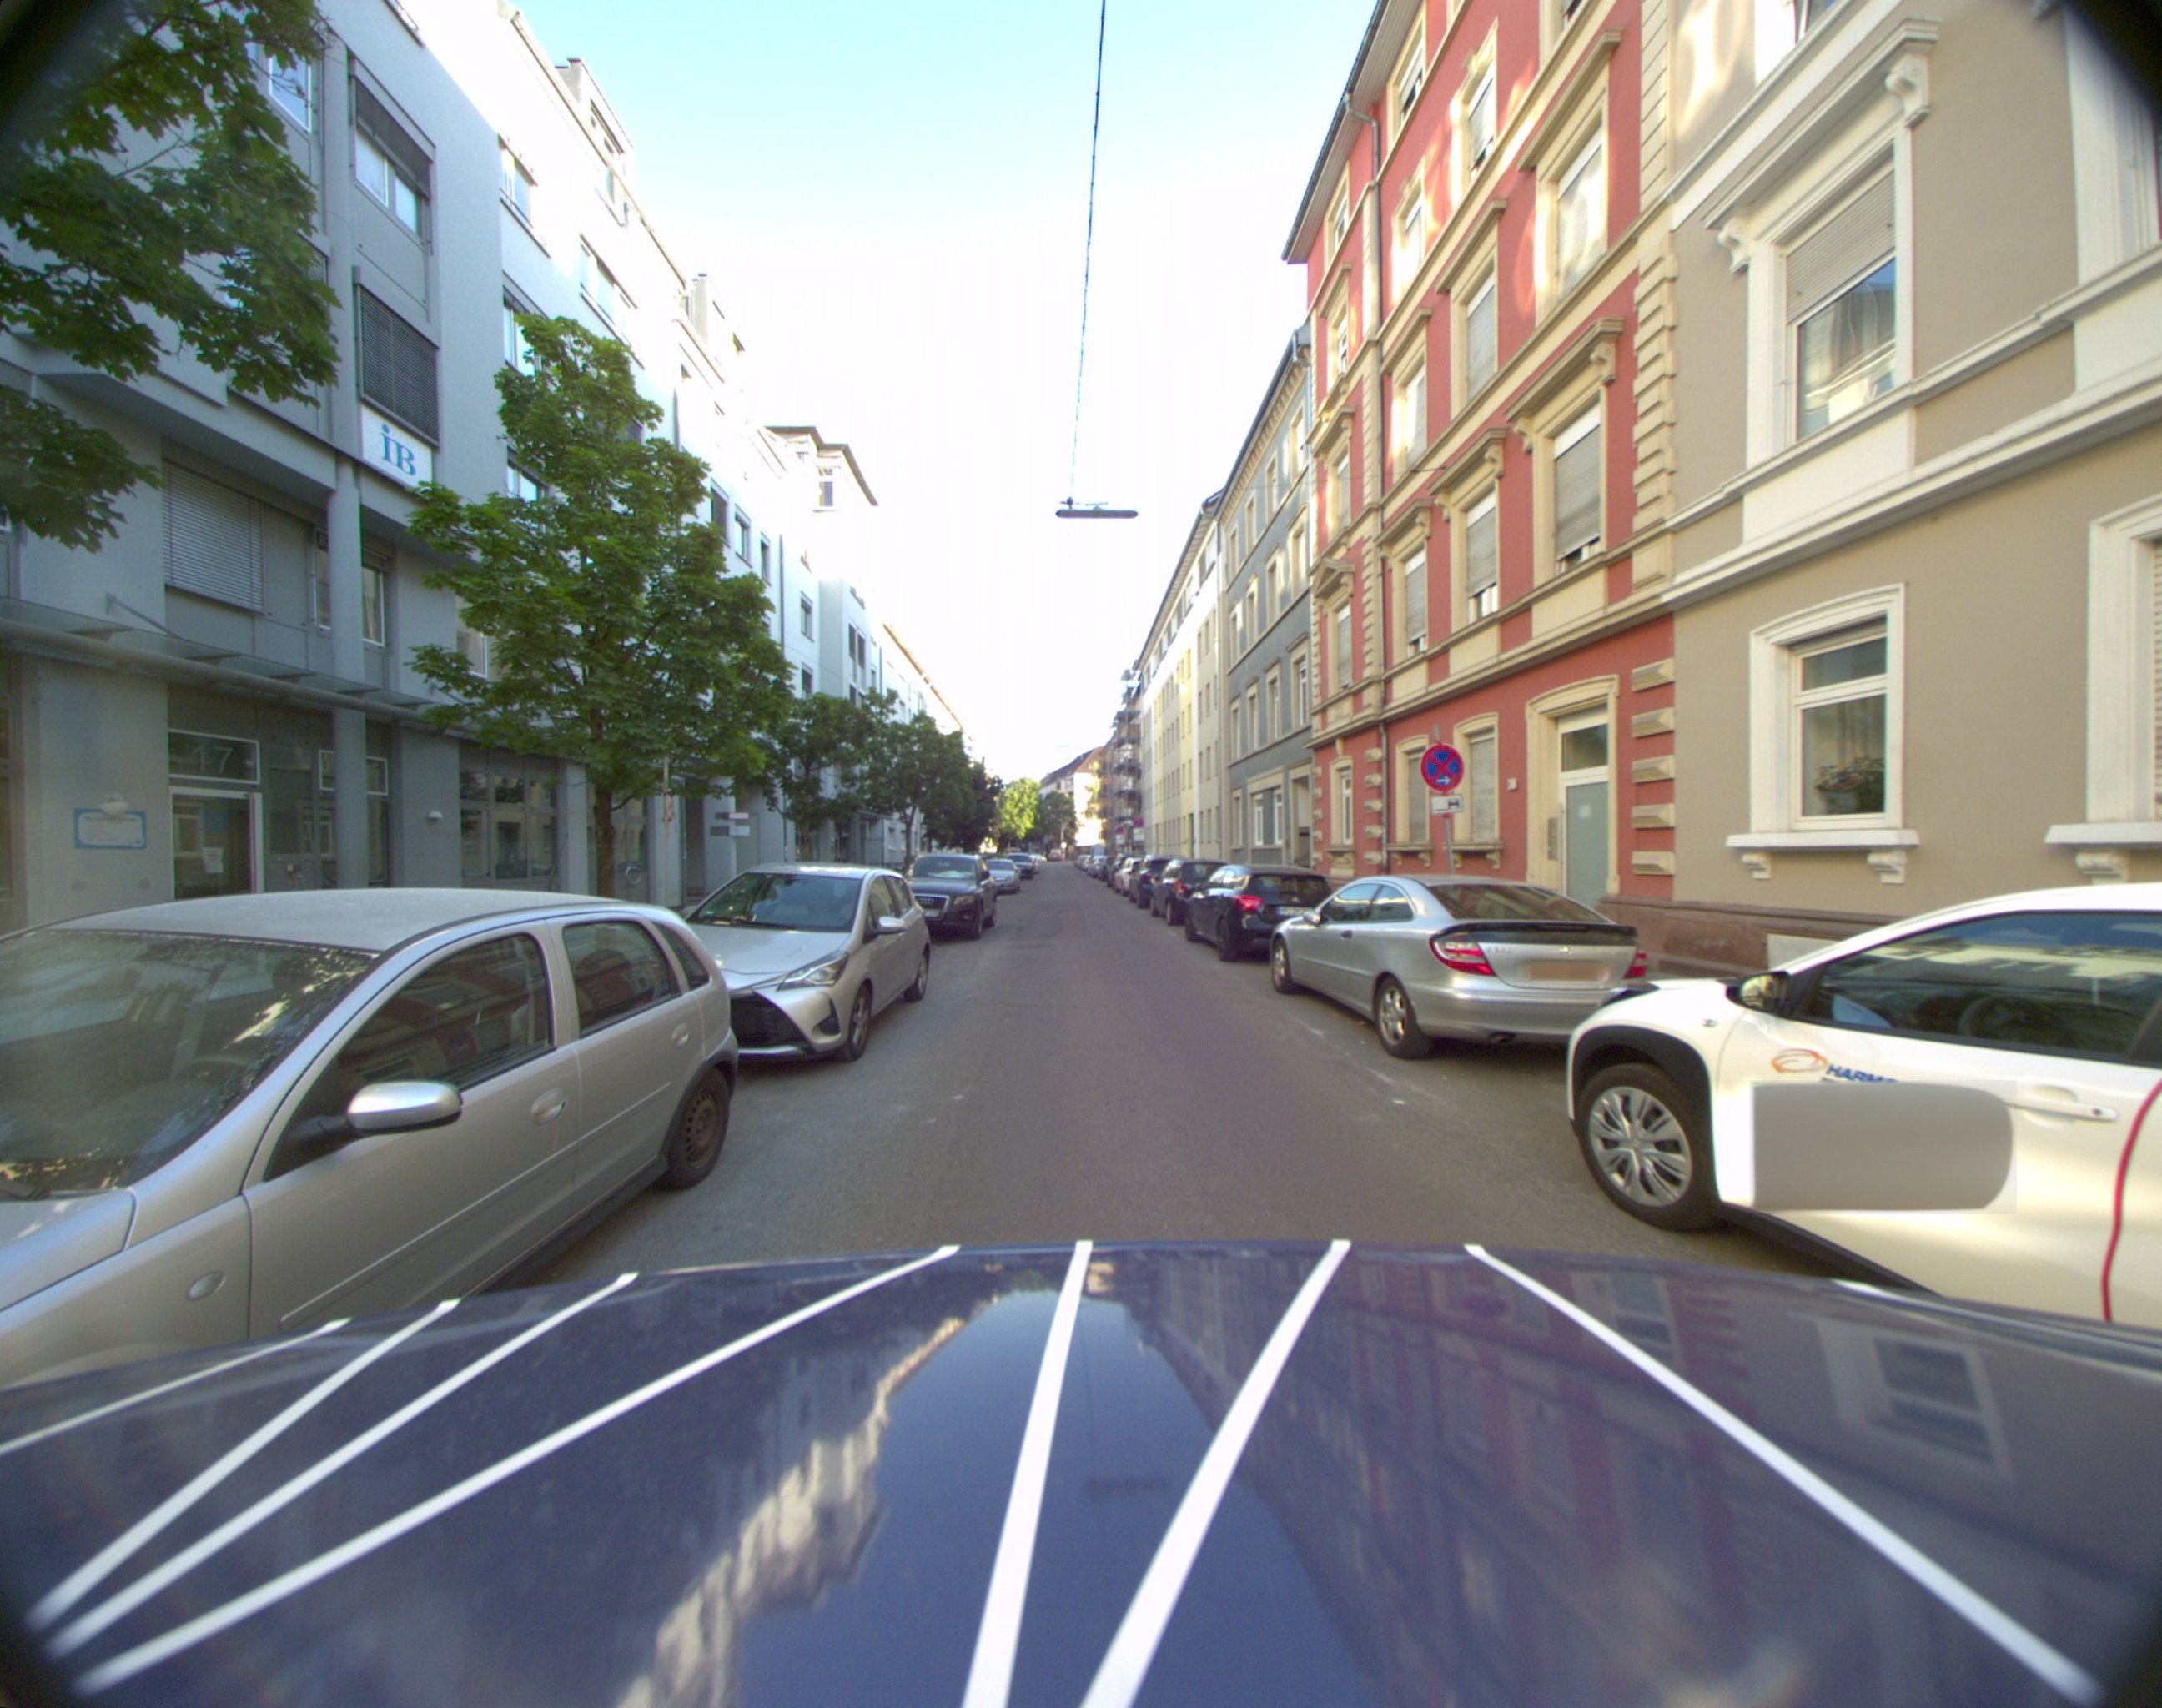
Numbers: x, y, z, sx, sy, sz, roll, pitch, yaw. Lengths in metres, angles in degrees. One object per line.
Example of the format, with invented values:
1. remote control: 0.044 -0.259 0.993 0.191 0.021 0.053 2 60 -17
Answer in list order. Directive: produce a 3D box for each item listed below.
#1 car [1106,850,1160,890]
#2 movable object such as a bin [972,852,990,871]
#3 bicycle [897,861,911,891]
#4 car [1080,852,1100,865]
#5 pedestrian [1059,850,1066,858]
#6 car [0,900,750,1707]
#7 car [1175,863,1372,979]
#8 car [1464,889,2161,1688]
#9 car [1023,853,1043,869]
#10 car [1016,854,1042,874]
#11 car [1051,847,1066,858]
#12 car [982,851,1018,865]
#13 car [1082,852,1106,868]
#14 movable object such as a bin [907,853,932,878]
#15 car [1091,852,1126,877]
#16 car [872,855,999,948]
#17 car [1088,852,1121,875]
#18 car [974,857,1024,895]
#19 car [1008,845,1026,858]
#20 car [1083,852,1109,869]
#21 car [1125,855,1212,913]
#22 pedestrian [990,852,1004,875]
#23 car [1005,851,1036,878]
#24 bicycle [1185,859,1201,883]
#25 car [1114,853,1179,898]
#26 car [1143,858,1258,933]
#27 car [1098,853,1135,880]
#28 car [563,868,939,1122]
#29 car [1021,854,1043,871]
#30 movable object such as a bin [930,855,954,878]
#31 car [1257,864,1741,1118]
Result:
1. car: 2.280 0.667 34.442 1.926 1.654 4.467 1 0 -3
2. movable object such as a bin: -7.813 0.580 59.669 1.288 1.428 1.223 0 1 -2
3. bicycle: -7.077 0.862 30.456 0.522 1.161 1.738 1 1 -12
4. car: 0.958 0.480 84.718 1.999 1.423 3.998 1 0 -3
5. pedestrian: -3.078 -0.022 128.011 0.868 1.455 0.804 1 1 25
6. car: -2.602 0.996 2.095 1.680 1.467 3.729 1 0 1
7. car: 2.866 0.934 12.377 1.926 1.475 4.266 1 0 -3
8. car: 3.167 0.966 2.182 1.925 1.498 4.266 1 0 0
9. car: -4.447 0.603 70.686 1.681 1.411 4.134 1 0 -2
10. car: -4.035 0.725 59.557 1.680 1.474 3.652 1 0 1
11. car: -3.887 -0.249 131.874 2.081 1.760 4.214 1 1 -8
12. car: -9.354 0.452 87.984 3.998 1.556 1.999 1 1 -4
13. car: 1.257 0.574 73.988 1.999 1.439 3.998 1 0 -3
14. movable object such as a bin: -9.555 0.687 44.918 1.265 1.428 1.138 0 1 -2
15. car: 1.716 0.662 49.348 1.928 1.480 4.616 1 0 -2
16. car: -2.849 0.852 15.813 1.890 1.613 4.433 1 0 -2
17. car: 1.641 0.646 54.716 1.928 1.480 4.615 1 0 -3
18. car: -3.401 0.884 32.284 1.768 1.421 4.343 1 0 -2
19. car: -11.821 -0.419 140.376 2.163 2.270 6.199 1 1 -15
20. car: 1.342 0.563 69.160 1.999 1.496 3.998 1 0 -3
21. car: 2.543 0.835 23.165 1.926 1.551 4.266 1 0 -3
22. pedestrian: -5.367 0.590 48.650 0.802 1.455 0.870 1 1 -4
23. car: -3.850 0.618 48.954 1.876 1.626 4.720 1 0 -3
24. bicycle: 5.258 0.804 35.743 0.451 1.068 1.751 -2 1 -2
25. car: 2.411 0.779 29.065 1.926 1.551 4.266 1 0 -3
26. car: 2.735 0.891 18.350 1.906 1.551 4.239 1 0 -3
27. car: 2.012 0.692 44.500 1.784 1.480 4.419 1 0 -2
28. car: -2.490 0.946 6.861 1.681 1.516 3.970 1 0 0
29. car: -4.119 0.697 64.506 1.681 1.411 4.135 1 0 -2
30. movable object such as a bin: -8.257 0.746 45.211 1.265 1.313 1.138 0 1 -2
31. car: 3.176 0.912 6.983 1.926 1.551 4.266 1 0 -3
